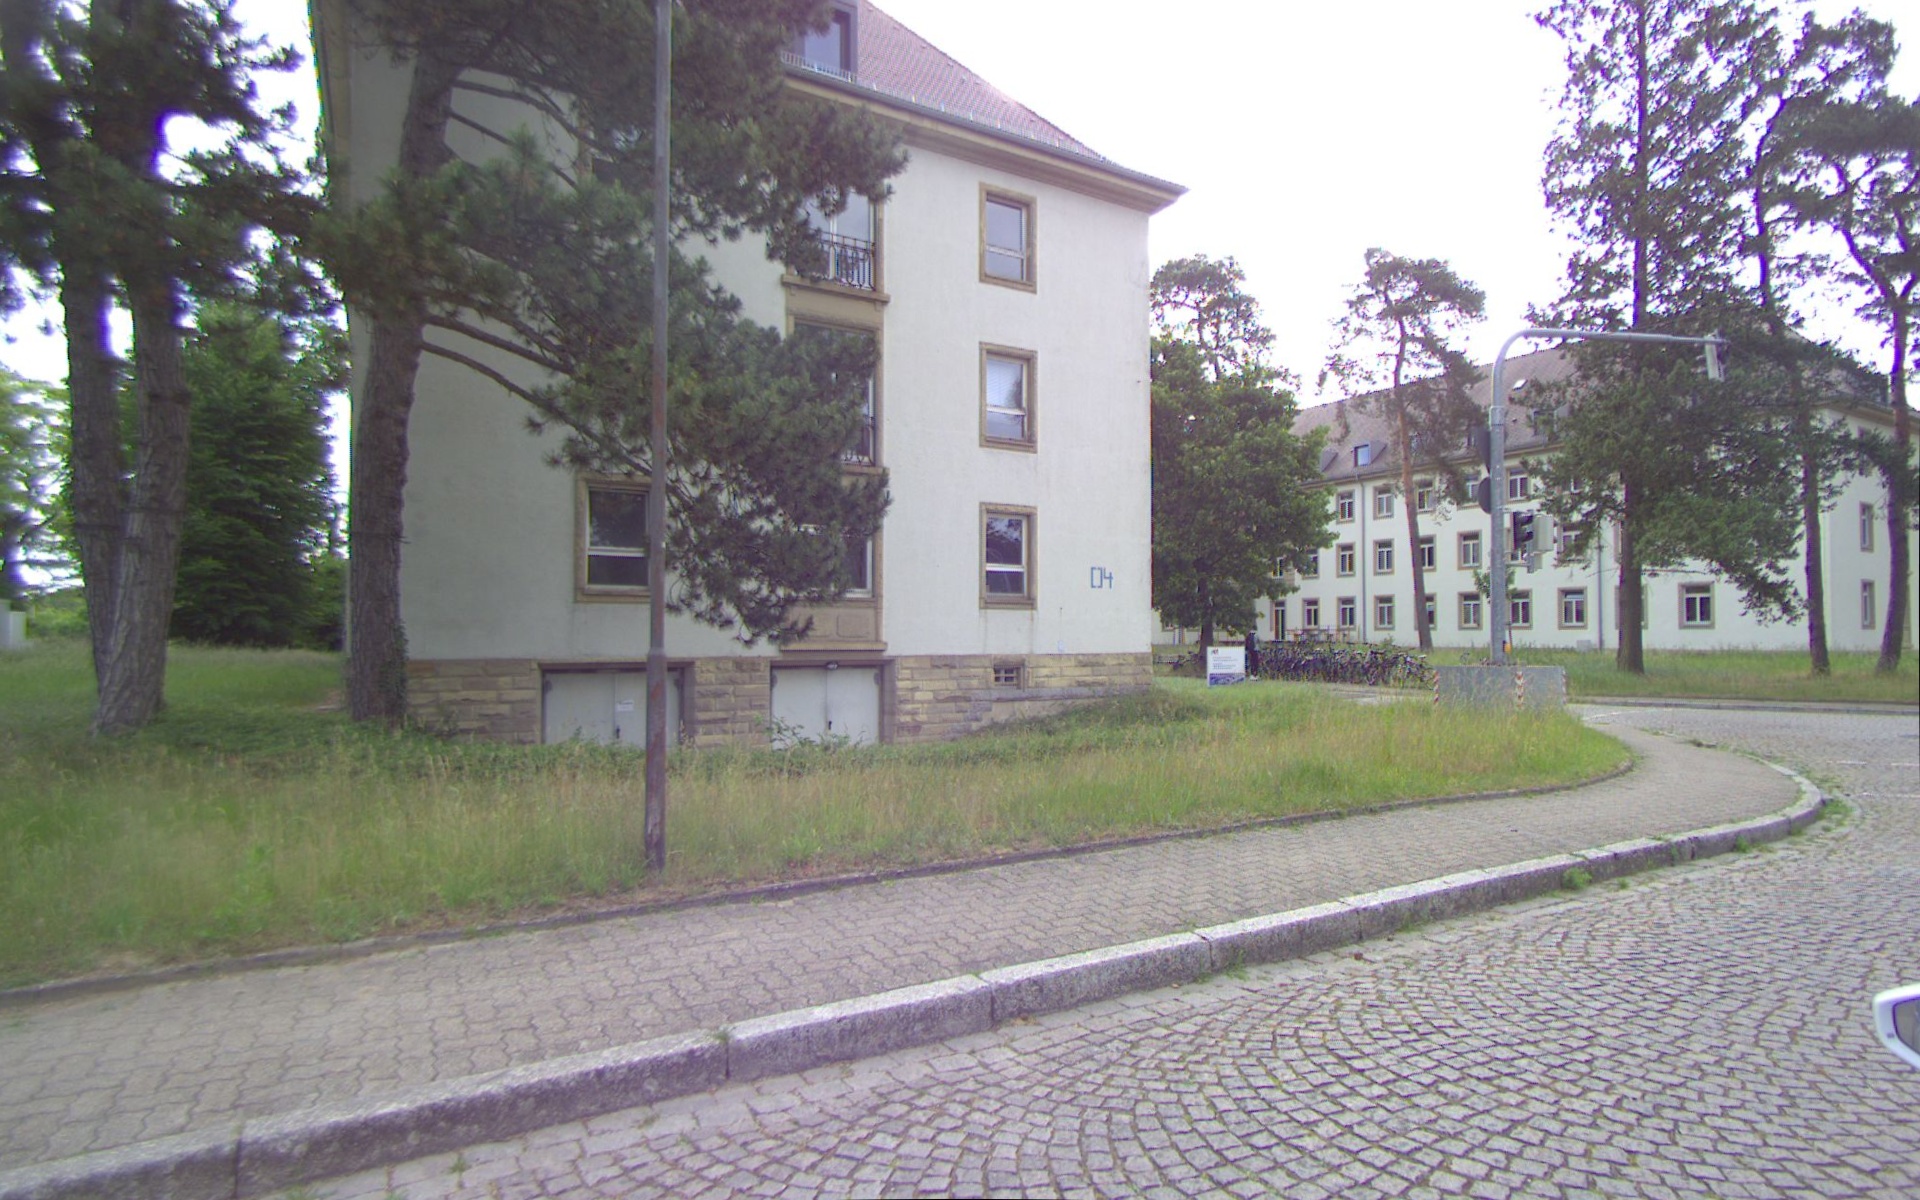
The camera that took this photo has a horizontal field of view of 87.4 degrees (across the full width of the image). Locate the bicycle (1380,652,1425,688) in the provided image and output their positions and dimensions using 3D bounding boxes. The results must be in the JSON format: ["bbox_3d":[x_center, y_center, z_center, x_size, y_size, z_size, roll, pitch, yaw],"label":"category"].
[{"bbox_3d":[13.830,2.175,31.394,1.569,1.093,0.511,2,-3,-34],"label":"bicycle"}]

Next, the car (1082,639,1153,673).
[{"bbox_3d":[6.913,2.450,44.146,2.756,1.446,1.509,2,-2,-31],"label":"car"}]

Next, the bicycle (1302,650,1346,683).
[{"bbox_3d":[12.294,2.224,33.958,1.567,1.093,0.512,1,-3,-31],"label":"bicycle"}]

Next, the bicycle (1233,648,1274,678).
[{"bbox_3d":[10.741,2.299,36.706,1.567,1.093,0.512,1,-3,-31],"label":"bicycle"}]

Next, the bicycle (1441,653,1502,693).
[{"bbox_3d":[14.318,2.021,28.128,0.510,1.079,1.457,1,-3,-32],"label":"bicycle"}]

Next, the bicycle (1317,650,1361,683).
[{"bbox_3d":[12.621,2.198,33.430,1.567,1.093,0.512,1,-3,-31],"label":"bicycle"}]

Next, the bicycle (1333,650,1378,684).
[{"bbox_3d":[12.973,2.185,32.908,1.567,1.093,0.512,1,-3,-31],"label":"bicycle"}]

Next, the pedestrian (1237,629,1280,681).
[{"bbox_3d":[10.549,1.933,35.555,1.135,1.812,1.064,-1,-1,-2],"label":"pedestrian"}]

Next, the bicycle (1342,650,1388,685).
[{"bbox_3d":[13.149,2.183,32.593,1.567,1.093,0.512,1,-3,-31],"label":"bicycle"}]

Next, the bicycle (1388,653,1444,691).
[{"bbox_3d":[13.365,2.101,29.458,0.510,1.093,1.457,1,-3,-32],"label":"bicycle"}]

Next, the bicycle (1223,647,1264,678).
[{"bbox_3d":[10.483,2.301,37.135,1.567,1.093,0.512,1,-3,-31],"label":"bicycle"}]

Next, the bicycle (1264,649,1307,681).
[{"bbox_3d":[11.471,2.283,35.365,1.567,1.093,0.512,1,-3,-31],"label":"bicycle"}]

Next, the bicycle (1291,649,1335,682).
[{"bbox_3d":[12.064,2.229,34.346,1.567,1.093,0.512,1,-3,-31],"label":"bicycle"}]

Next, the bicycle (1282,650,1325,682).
[{"bbox_3d":[11.866,2.261,34.675,1.567,1.093,0.512,1,-3,-31],"label":"bicycle"}]

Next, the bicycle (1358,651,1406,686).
[{"bbox_3d":[13.420,2.177,31.935,1.565,1.093,0.512,1,-3,-28],"label":"bicycle"}]
